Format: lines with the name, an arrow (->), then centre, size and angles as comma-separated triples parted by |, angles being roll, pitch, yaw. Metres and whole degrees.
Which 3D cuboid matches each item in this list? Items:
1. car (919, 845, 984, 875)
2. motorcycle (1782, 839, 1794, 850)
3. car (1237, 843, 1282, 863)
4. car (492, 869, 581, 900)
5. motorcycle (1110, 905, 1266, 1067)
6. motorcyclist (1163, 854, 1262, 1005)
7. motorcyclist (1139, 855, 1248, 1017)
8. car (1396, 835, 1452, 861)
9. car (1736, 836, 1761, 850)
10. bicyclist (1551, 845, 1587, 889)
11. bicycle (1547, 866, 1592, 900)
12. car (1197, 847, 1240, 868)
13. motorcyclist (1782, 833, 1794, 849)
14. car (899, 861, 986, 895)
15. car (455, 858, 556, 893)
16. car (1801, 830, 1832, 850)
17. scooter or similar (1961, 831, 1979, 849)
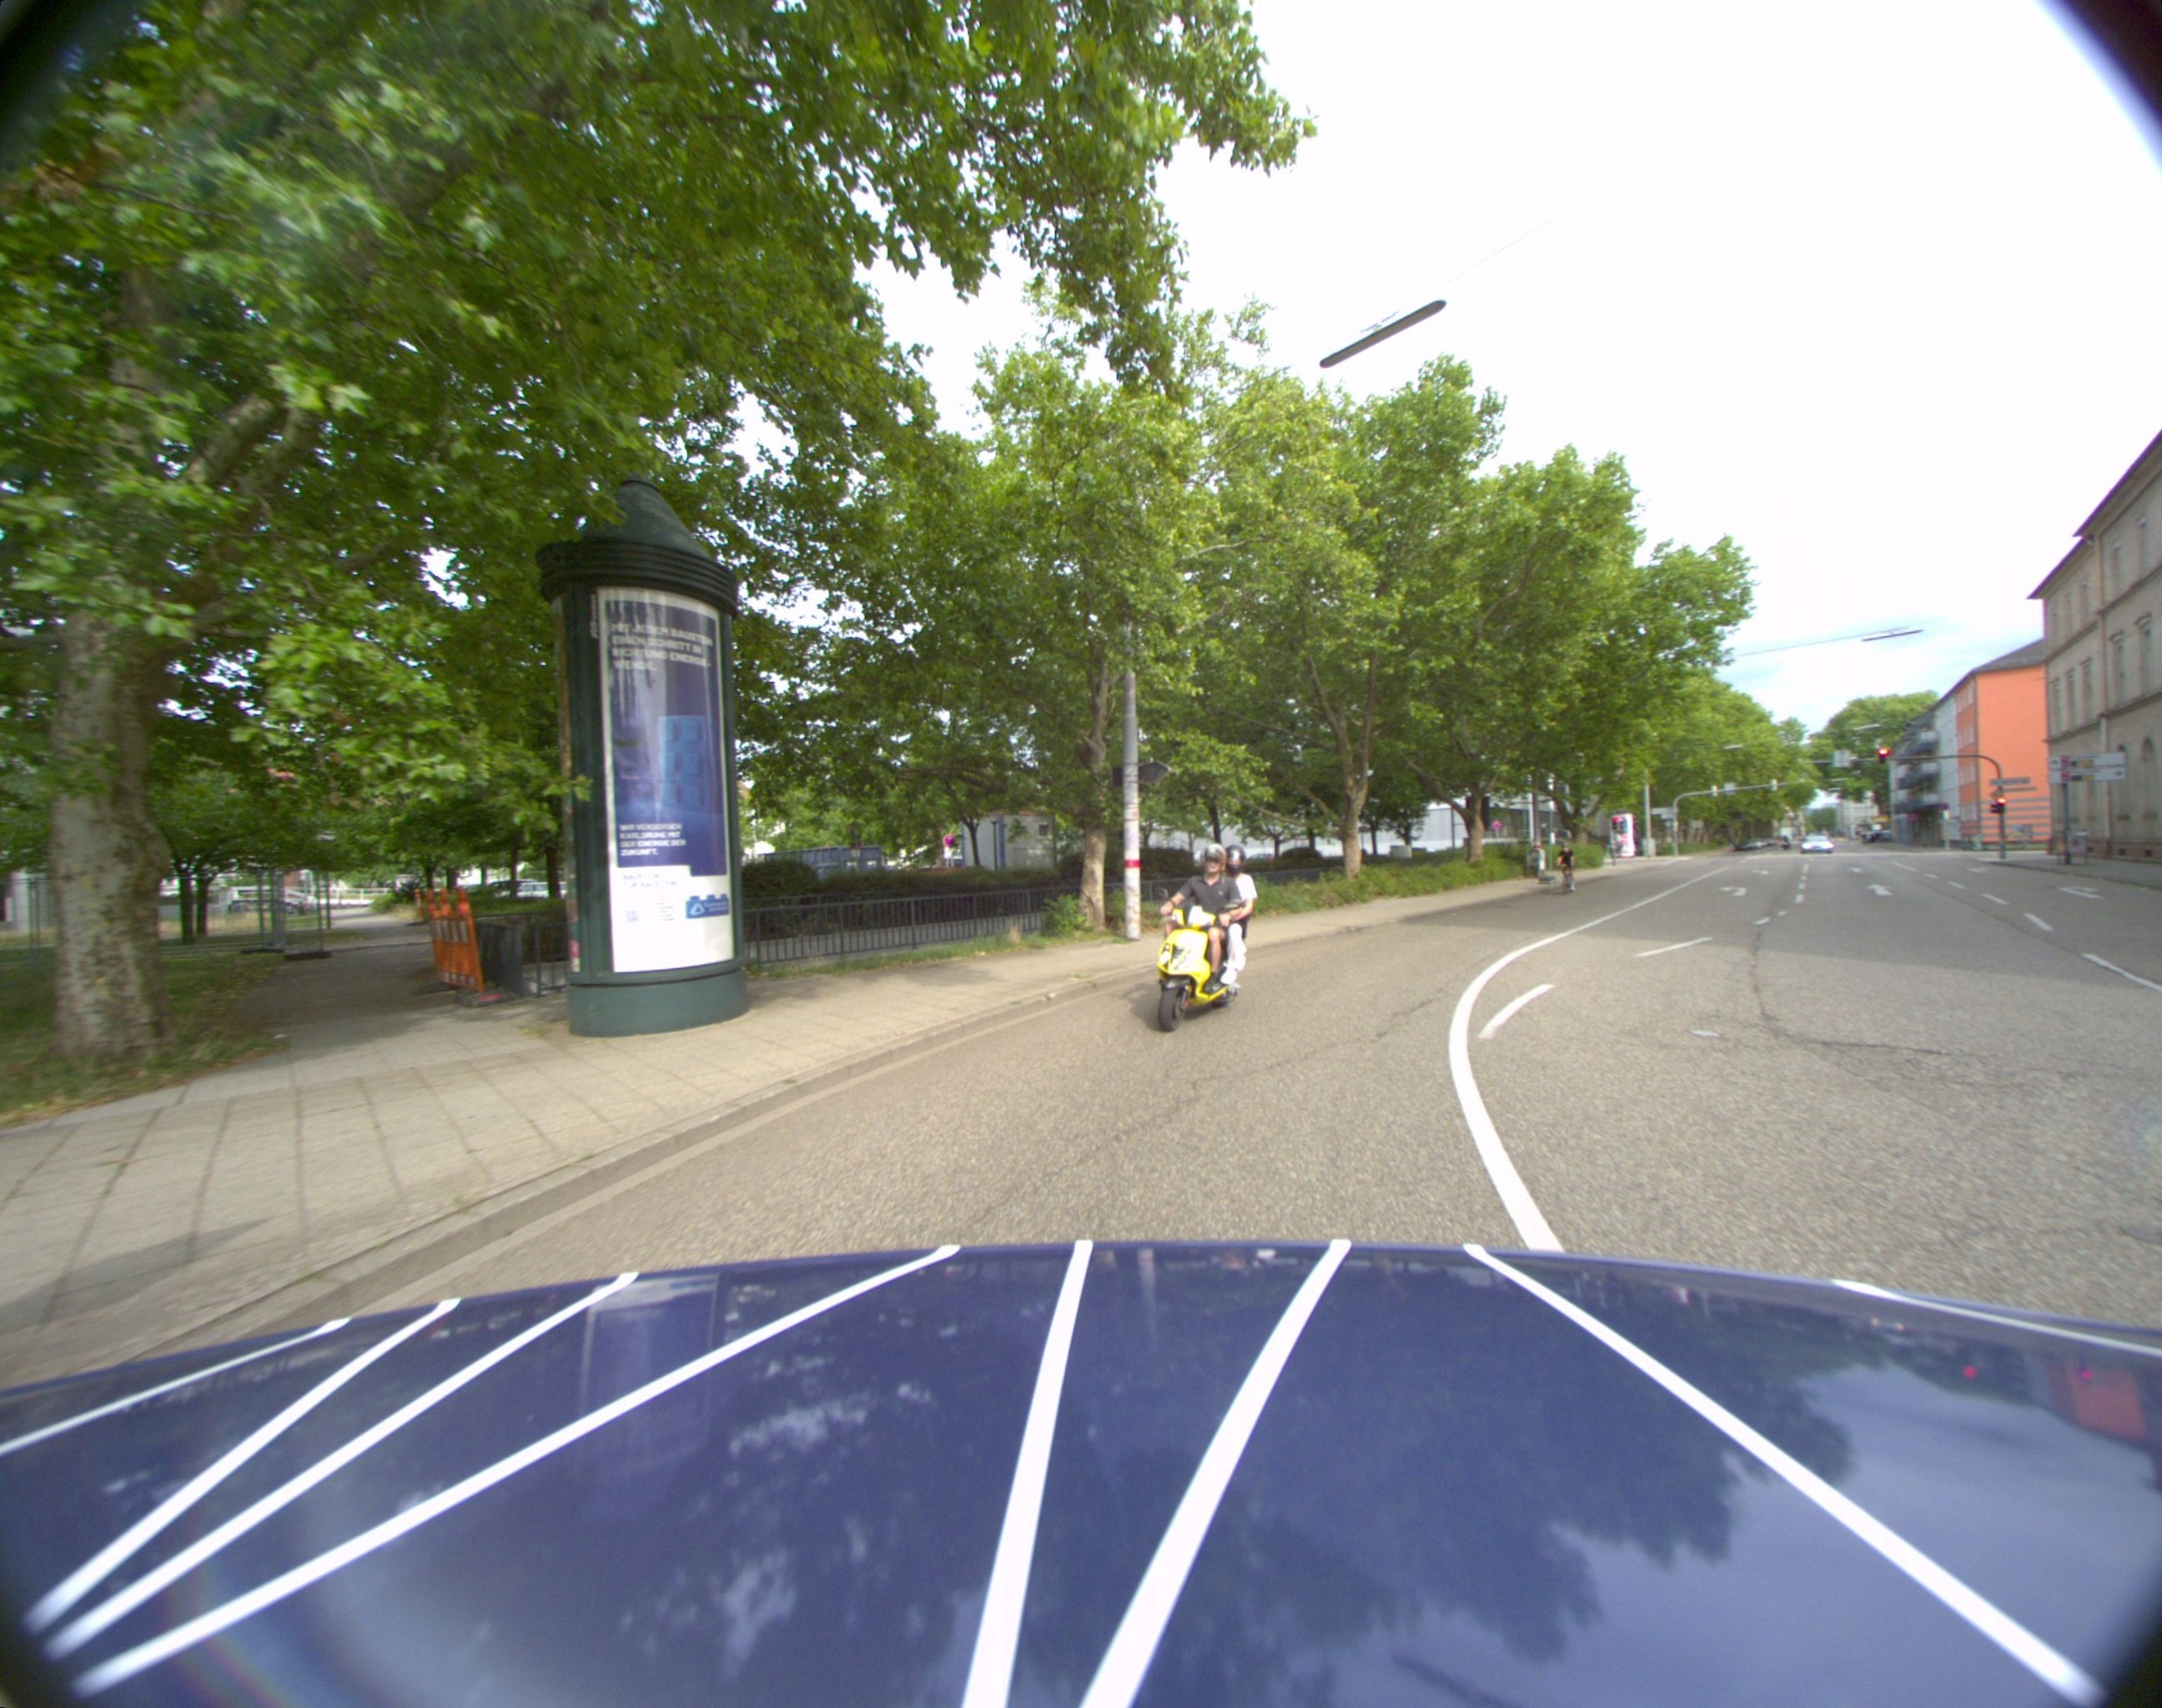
car -> -12.060, 0.556, 70.948 | 2.437, 2.597, 5.508 | -4, -2, 41
motorcycle -> 76.003, -1.034, 81.656 | 0.780, 1.170, 1.997 | -4, -2, 40
car -> 18.654, -0.069, 79.343 | 3.990, 1.848, 2.004 | -4, -2, 35
car -> -31.479, 1.762, 43.970 | 1.995, 1.571, 3.797 | -4, -2, 41
motorcycle -> 1.075, 1.125, 7.135 | 0.780, 1.171, 1.996 | -1, 0, 29
motorcyclist -> 1.333, 0.722, 7.656 | 0.780, 1.419, 0.690 | -1, 0, 28
motorcyclist -> 1.075, 0.728, 7.163 | 0.780, 1.419, 0.765 | -1, 0, 29
car -> 29.882, -0.539, 66.186 | 3.990, 2.001, 2.004 | -4, -2, 39
car -> 84.802, -1.412, 96.520 | 4.280, 1.532, 1.995 | -2, -2, -44
bicyclist -> 16.277, 0.432, 25.342 | 0.783, 1.438, 0.916 | -4, -2, 44
bicycle -> 16.312, 0.950, 25.347 | 0.769, 1.009, 2.412 | -4, -2, 44
car -> 14.832, 0.371, 82.236 | 3.990, 2.001, 2.004 | -4, -2, 35
motorcyclist -> 75.973, -1.399, 81.648 | 0.780, 1.650, 1.115 | -4, -2, 40
car -> -8.097, 1.381, 44.912 | 1.995, 1.783, 4.783 | -4, -2, 41
car -> -36.904, 1.377, 48.834 | 1.995, 2.001, 4.783 | -4, -2, 41
car -> 58.896, -1.125, 60.881 | 1.669, 1.430, 3.828 | -2, 0, 43
scooter or similar -> 60.331, -0.934, 51.562 | 0.329, 1.151, 1.357 | -4, -1, 31
